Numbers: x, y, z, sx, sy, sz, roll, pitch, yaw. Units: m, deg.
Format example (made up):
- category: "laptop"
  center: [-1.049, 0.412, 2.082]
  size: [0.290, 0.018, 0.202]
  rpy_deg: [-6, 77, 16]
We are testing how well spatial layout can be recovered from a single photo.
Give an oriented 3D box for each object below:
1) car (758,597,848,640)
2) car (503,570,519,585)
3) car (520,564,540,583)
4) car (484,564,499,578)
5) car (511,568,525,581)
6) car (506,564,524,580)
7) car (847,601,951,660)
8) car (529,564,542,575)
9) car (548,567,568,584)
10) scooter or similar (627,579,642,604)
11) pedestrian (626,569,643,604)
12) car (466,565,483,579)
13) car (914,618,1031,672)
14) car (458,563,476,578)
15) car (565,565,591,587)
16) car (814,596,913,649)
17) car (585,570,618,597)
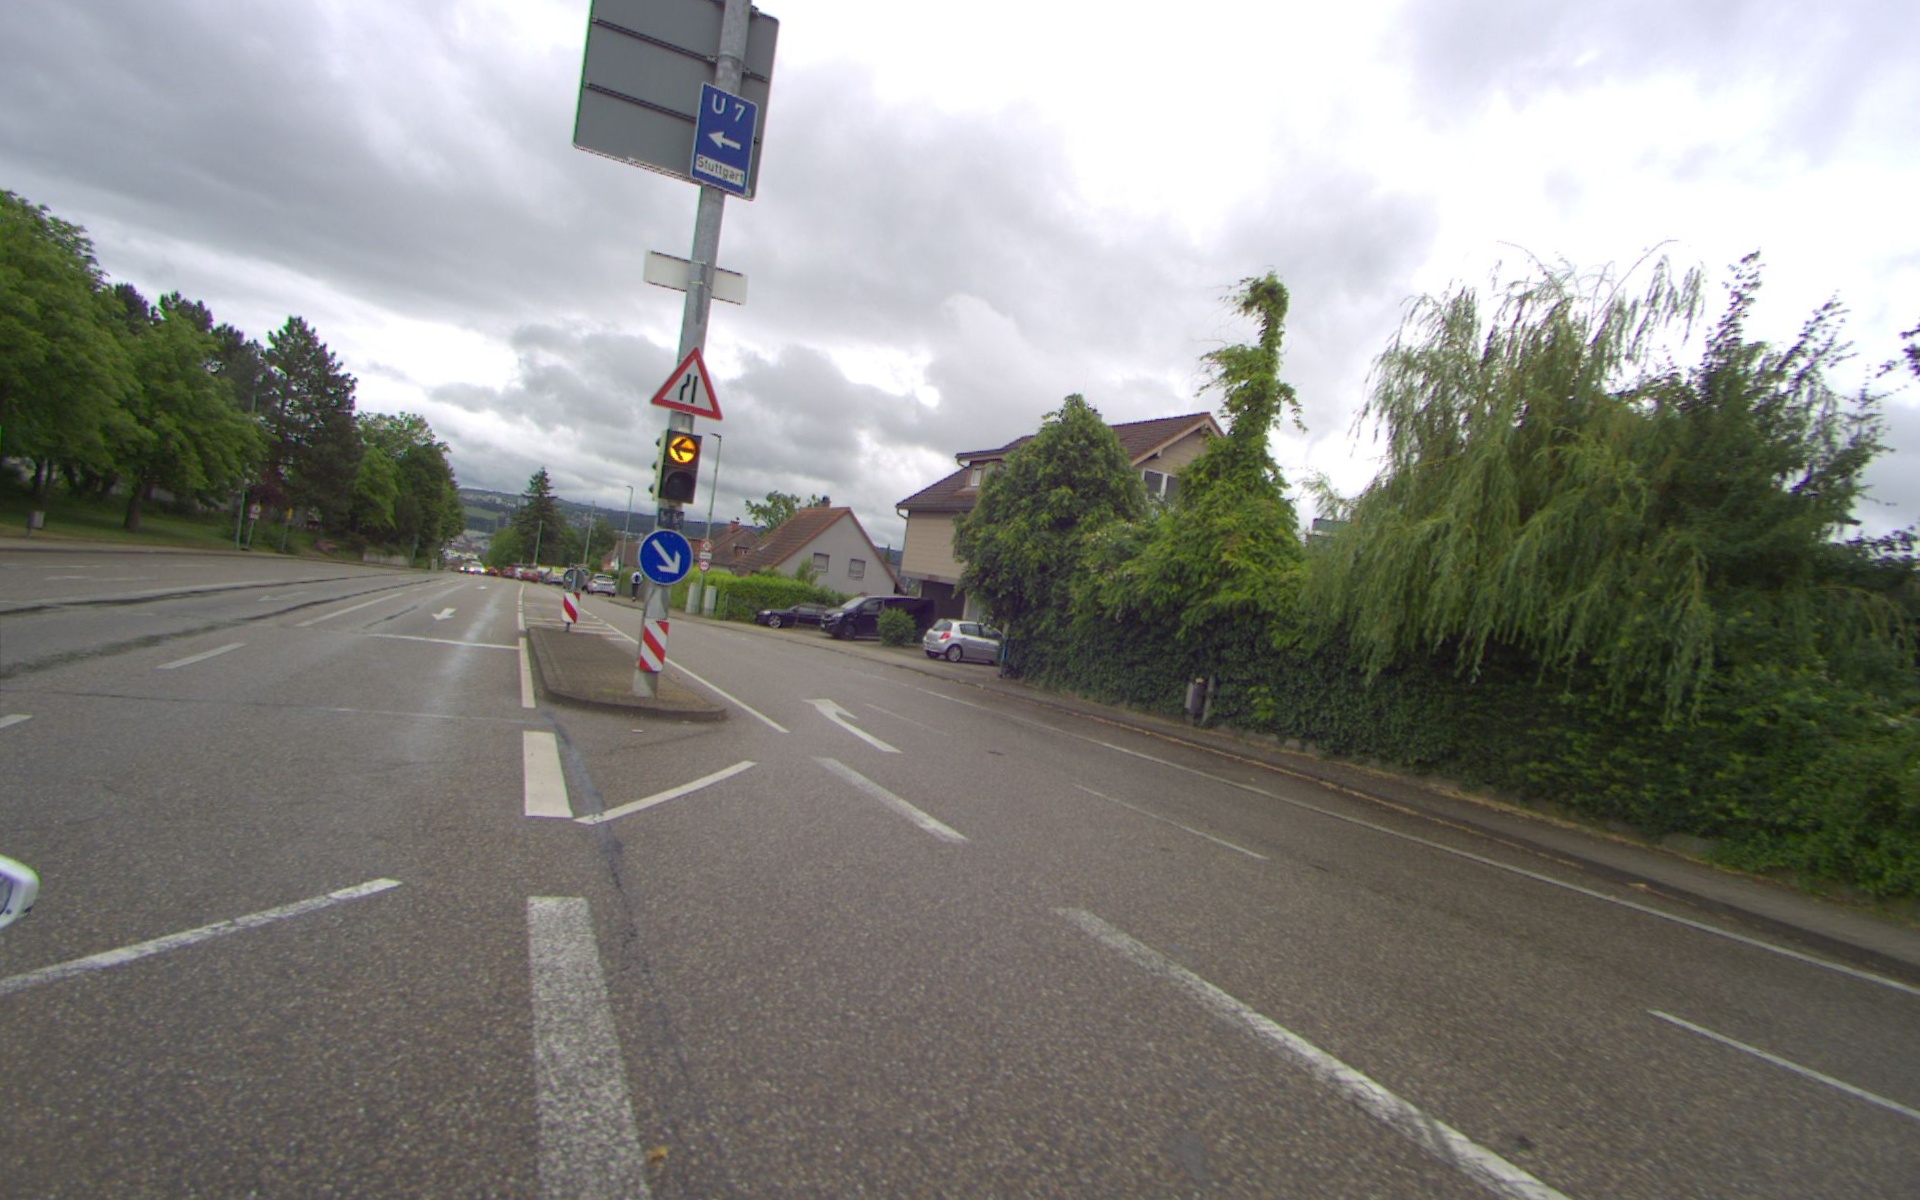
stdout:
- category: "car"
  center: [-7.175, 0.838, 46.084]
  size: [3.656, 1.384, 1.510]
  rpy_deg: [10, -3, -25]
- category: "car"
  center: [-64.595, -3.265, 144.733]
  size: [1.780, 1.804, 3.978]
  rpy_deg: [8, -1, -23]
- category: "car"
  center: [-44.701, -2.769, 104.522]
  size: [1.738, 1.593, 3.978]
  rpy_deg: [8, -1, -23]
- category: "car"
  center: [-75.204, -4.668, 161.397]
  size: [1.869, 1.815, 3.978]
  rpy_deg: [8, -1, -23]
- category: "car"
  center: [-68.700, -3.982, 156.330]
  size: [1.722, 1.593, 3.978]
  rpy_deg: [8, -1, -23]
- category: "car"
  center: [-51.835, -3.260, 117.211]
  size: [1.722, 1.593, 3.978]
  rpy_deg: [8, -1, -23]
- category: "car"
  center: [-2.433, 1.221, 40.139]
  size: [3.598, 1.767, 1.696]
  rpy_deg: [9, -1, -28]
- category: "car"
  center: [-68.766, -4.938, 162.975]
  size: [1.833, 1.593, 3.978]
  rpy_deg: [8, -1, -23]
- category: "car"
  center: [-44.740, -2.706, 111.917]
  size: [1.833, 1.593, 3.978]
  rpy_deg: [8, -1, -23]
- category: "scooter or similar"
  center: [-19.769, -0.510, 61.060]
  size: [0.457, 1.377, 1.375]
  rpy_deg: [8, 0, -27]
- category: "pedestrian"
  center: [-19.770, -0.819, 61.045]
  size: [0.650, 2.026, 0.713]
  rpy_deg: [8, 0, -27]
- category: "car"
  center: [-70.265, -4.055, 145.688]
  size: [1.827, 1.737, 3.979]
  rpy_deg: [8, -1, -23]
- category: "car"
  center: [0.442, 1.590, 35.534]
  size: [3.688, 1.411, 1.715]
  rpy_deg: [8, -2, -31]
- category: "car"
  center: [-67.237, -4.022, 137.252]
  size: [1.827, 1.737, 3.979]
  rpy_deg: [8, -1, -23]
- category: "car"
  center: [-34.012, -2.133, 89.511]
  size: [1.833, 1.593, 3.977]
  rpy_deg: [9, 0, -23]
- category: "car"
  center: [-4.037, 0.927, 42.111]
  size: [3.599, 1.645, 1.779]
  rpy_deg: [9, -1, -28]
- category: "car"
  center: [-26.072, -1.227, 73.026]
  size: [1.834, 1.592, 3.978]
  rpy_deg: [10, -1, -23]
